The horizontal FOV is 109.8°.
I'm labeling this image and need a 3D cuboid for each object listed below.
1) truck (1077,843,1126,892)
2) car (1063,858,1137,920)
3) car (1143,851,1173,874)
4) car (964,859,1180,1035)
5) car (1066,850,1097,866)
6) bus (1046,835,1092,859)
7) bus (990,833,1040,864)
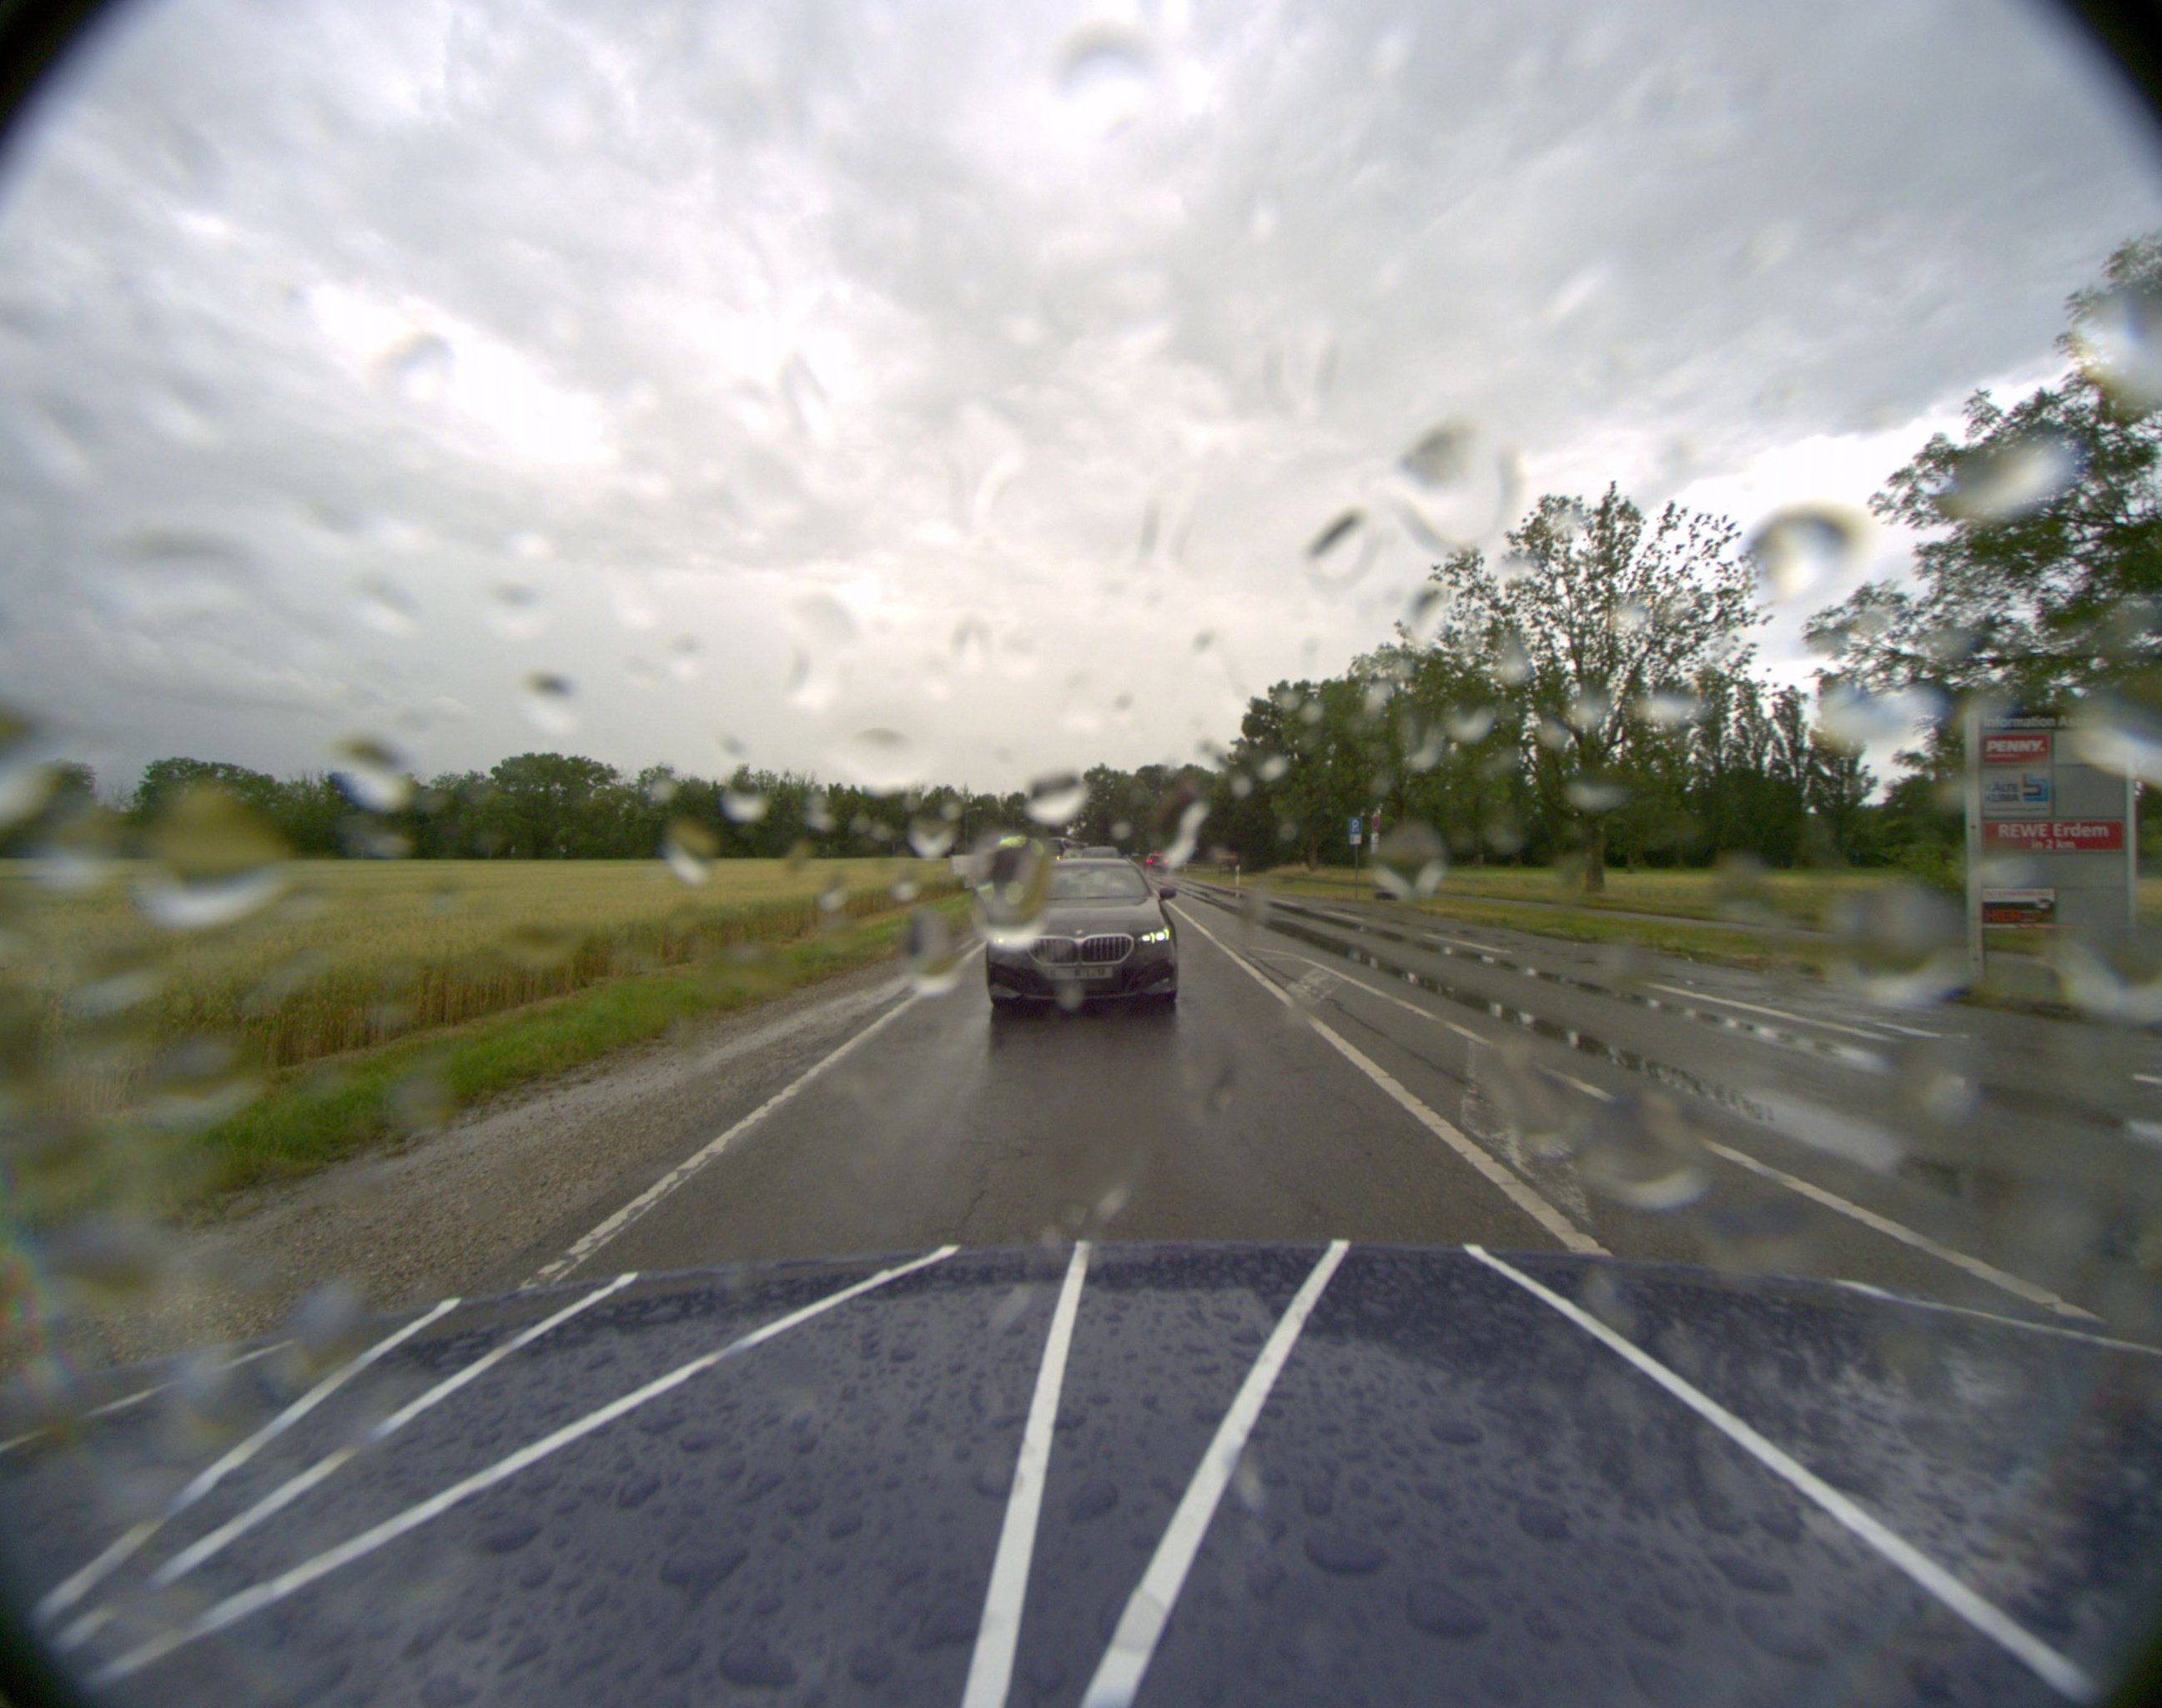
[{"bbox_3d":[0.897,0.573,35.248,2.075,2.050,5.769,-1,0,0],"label":"truck"},{"bbox_3d":[0.549,0.940,22.055,1.891,1.482,4.191,-2,1,2],"label":"car"},{"bbox_3d":[5.842,0.592,58.238,1.921,1.622,4.357,-2,0,1],"label":"car"},{"bbox_3d":[-0.017,0.851,8.792,1.891,1.484,4.036,-1,0,2],"label":"car"},{"bbox_3d":[0.041,0.367,77.543,1.894,1.522,4.495,-2,0,-17],"label":"car"},{"bbox_3d":[-1.592,-0.999,114.684,2.852,3.417,14.312,1,1,16],"label":"bus"},{"bbox_3d":[-8.266,-0.710,97.410,2.993,3.665,14.303,1,1,9],"label":"bus"}]
